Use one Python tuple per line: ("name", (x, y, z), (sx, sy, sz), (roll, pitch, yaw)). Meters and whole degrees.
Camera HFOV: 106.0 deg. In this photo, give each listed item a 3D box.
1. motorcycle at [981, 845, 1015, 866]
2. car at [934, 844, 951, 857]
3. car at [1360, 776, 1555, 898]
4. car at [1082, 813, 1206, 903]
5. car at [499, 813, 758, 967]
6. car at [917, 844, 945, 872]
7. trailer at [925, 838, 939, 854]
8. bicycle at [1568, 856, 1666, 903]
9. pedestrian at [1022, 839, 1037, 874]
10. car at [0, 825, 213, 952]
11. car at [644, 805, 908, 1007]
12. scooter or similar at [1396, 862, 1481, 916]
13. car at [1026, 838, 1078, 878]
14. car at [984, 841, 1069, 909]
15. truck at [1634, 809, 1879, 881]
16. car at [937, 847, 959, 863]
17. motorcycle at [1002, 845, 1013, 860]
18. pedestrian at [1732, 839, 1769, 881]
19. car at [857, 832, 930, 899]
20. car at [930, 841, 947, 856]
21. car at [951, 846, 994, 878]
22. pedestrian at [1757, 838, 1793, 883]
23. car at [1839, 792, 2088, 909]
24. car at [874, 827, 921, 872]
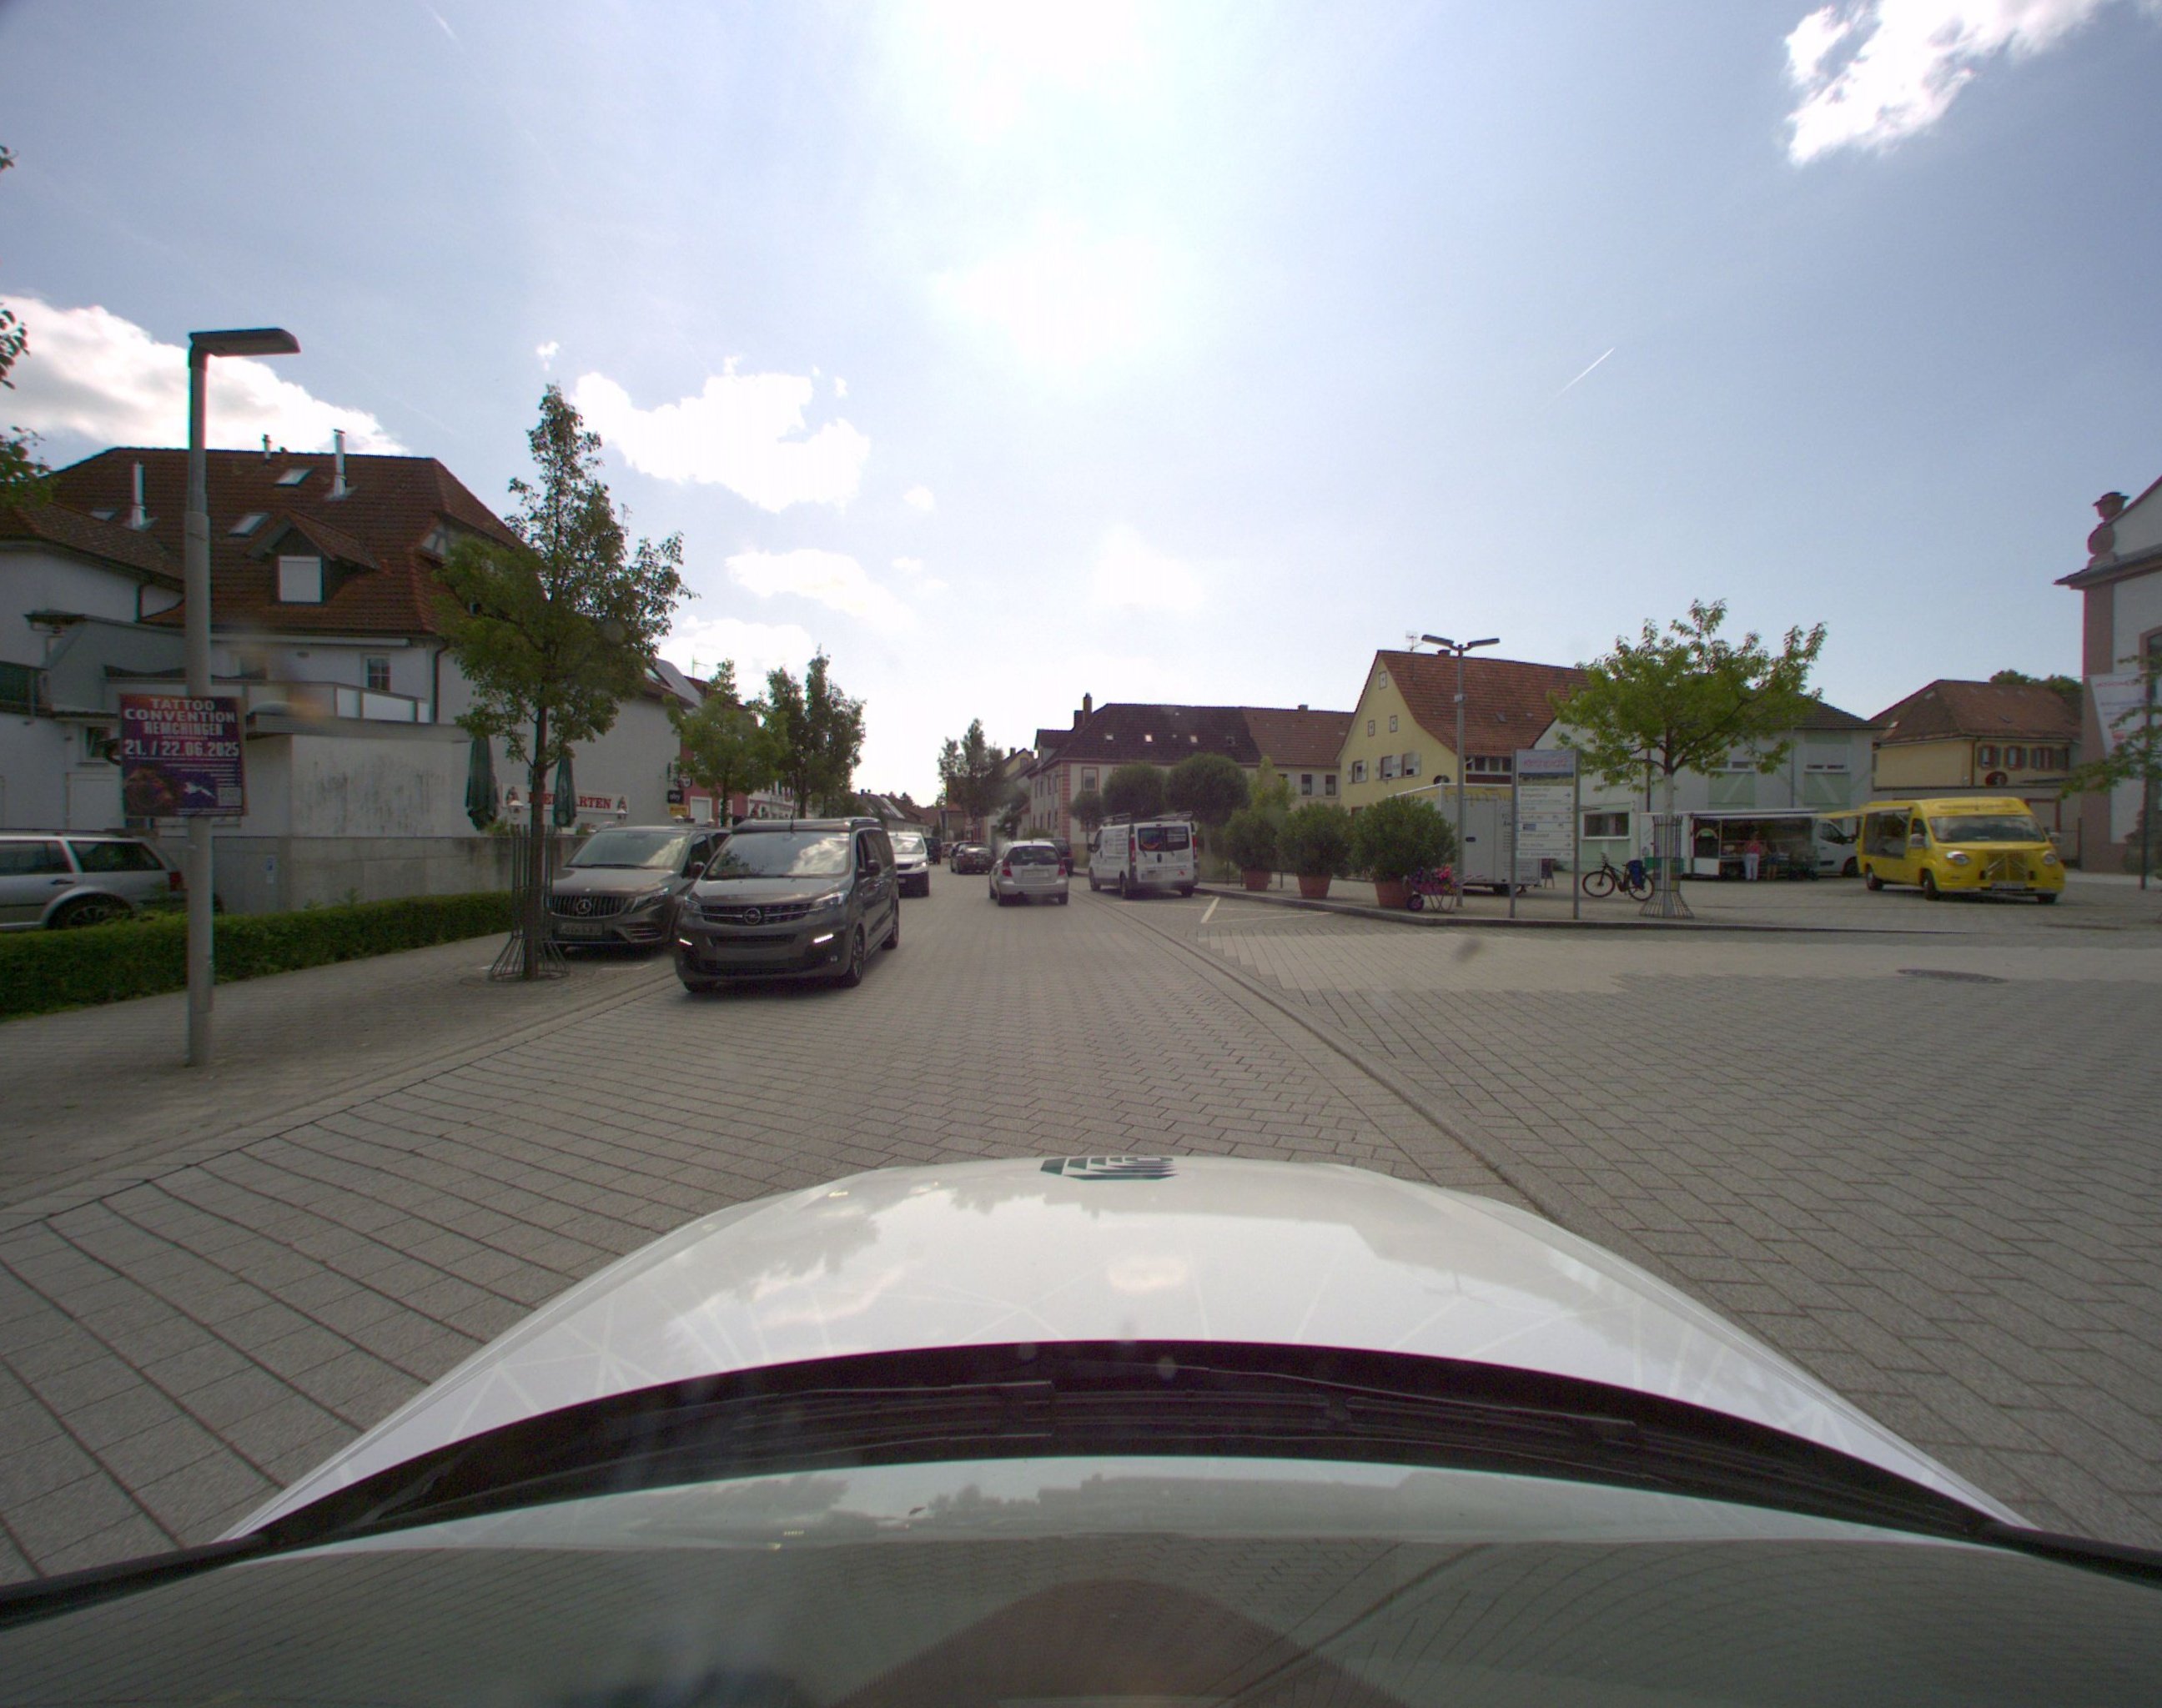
("motorcycle", (-5.743, 0.091, 56.300), (2.197, 1.394, 0.878), (0, 1, 29))
("car", (-17.125, -0.451, 100.502), (1.777, 1.495, 4.143), (-1, 1, -13))
("car", (10.503, -0.445, 23.655), (2.740, 2.963, 7.121), (1, 0, 4))
("car", (1.589, 0.052, 22.717), (1.945, 2.177, 5.078), (-2, 1, -13))
("car", (-6.902, 0.423, 13.187), (1.985, 1.990, 5.030), (0, 1, -8))
("car", (-11.022, 0.288, 59.750), (1.770, 1.888, 4.428), (2, 0, -12))
("trailer", (-22.375, -1.287, 122.490), (1.848, 2.354, 3.572), (-1, 1, -14))
("bicycle", (13.322, 0.601, 20.335), (0.755, 1.068, 2.102), (0, 1, -13))
("pedestrian", (-2.425, 0.121, 38.319), (0.639, 1.629, 0.618), (0, 1, -11))
("car", (-14.240, 0.407, 10.035), (1.975, 1.496, 4.463), (3, 2, 27))
("car", (-3.581, 0.473, 10.628), (1.990, 2.013, 4.731), (-1, 1, -5))
("scooter or similar", (6.292, 0.604, 14.375), (1.139, 0.881, 0.814), (0, 1, -4))
("car", (-1.291, 0.141, 34.372), (1.767, 1.564, 4.407), (0, 1, -7))
("car", (-1.534, 0.469, 21.577), (1.769, 1.594, 3.985), (-1, 1, -11))
("truck", (24.798, -0.335, 30.135), (6.785, 2.497, 2.955), (0, 1, -3))
("car", (-14.281, 0.069, 87.317), (1.996, 1.680, 4.303), (-1, 1, -14))
("motorcycle", (-5.291, -0.112, 58.639), (0.525, 1.123, 1.060), (0, 1, -20))
("pedestrian", (23.284, 0.207, 28.315), (0.641, 1.442, 0.760), (-1, 0, -4))
("car", (-5.751, 0.287, 25.451), (1.994, 1.880, 4.849), (0, 1, -10))
("car", (-18.948, -0.757, 108.318), (1.894, 1.982, 4.908), (-3, 1, -13))
("car", (-5.206, 0.333, 39.205), (1.944, 1.407, 3.990), (0, 1, -8))
("pedestrian", (24.159, 0.207, 28.357), (0.558, 1.540, 0.814), (0, 1, -2))
("car", (22.088, -0.135, 20.896), (2.619, 2.477, 7.009), (0, 1, 33))
("car", (-8.891, -0.234, 39.177), (1.997, 2.013, 4.715), (-1, 1, -15))
